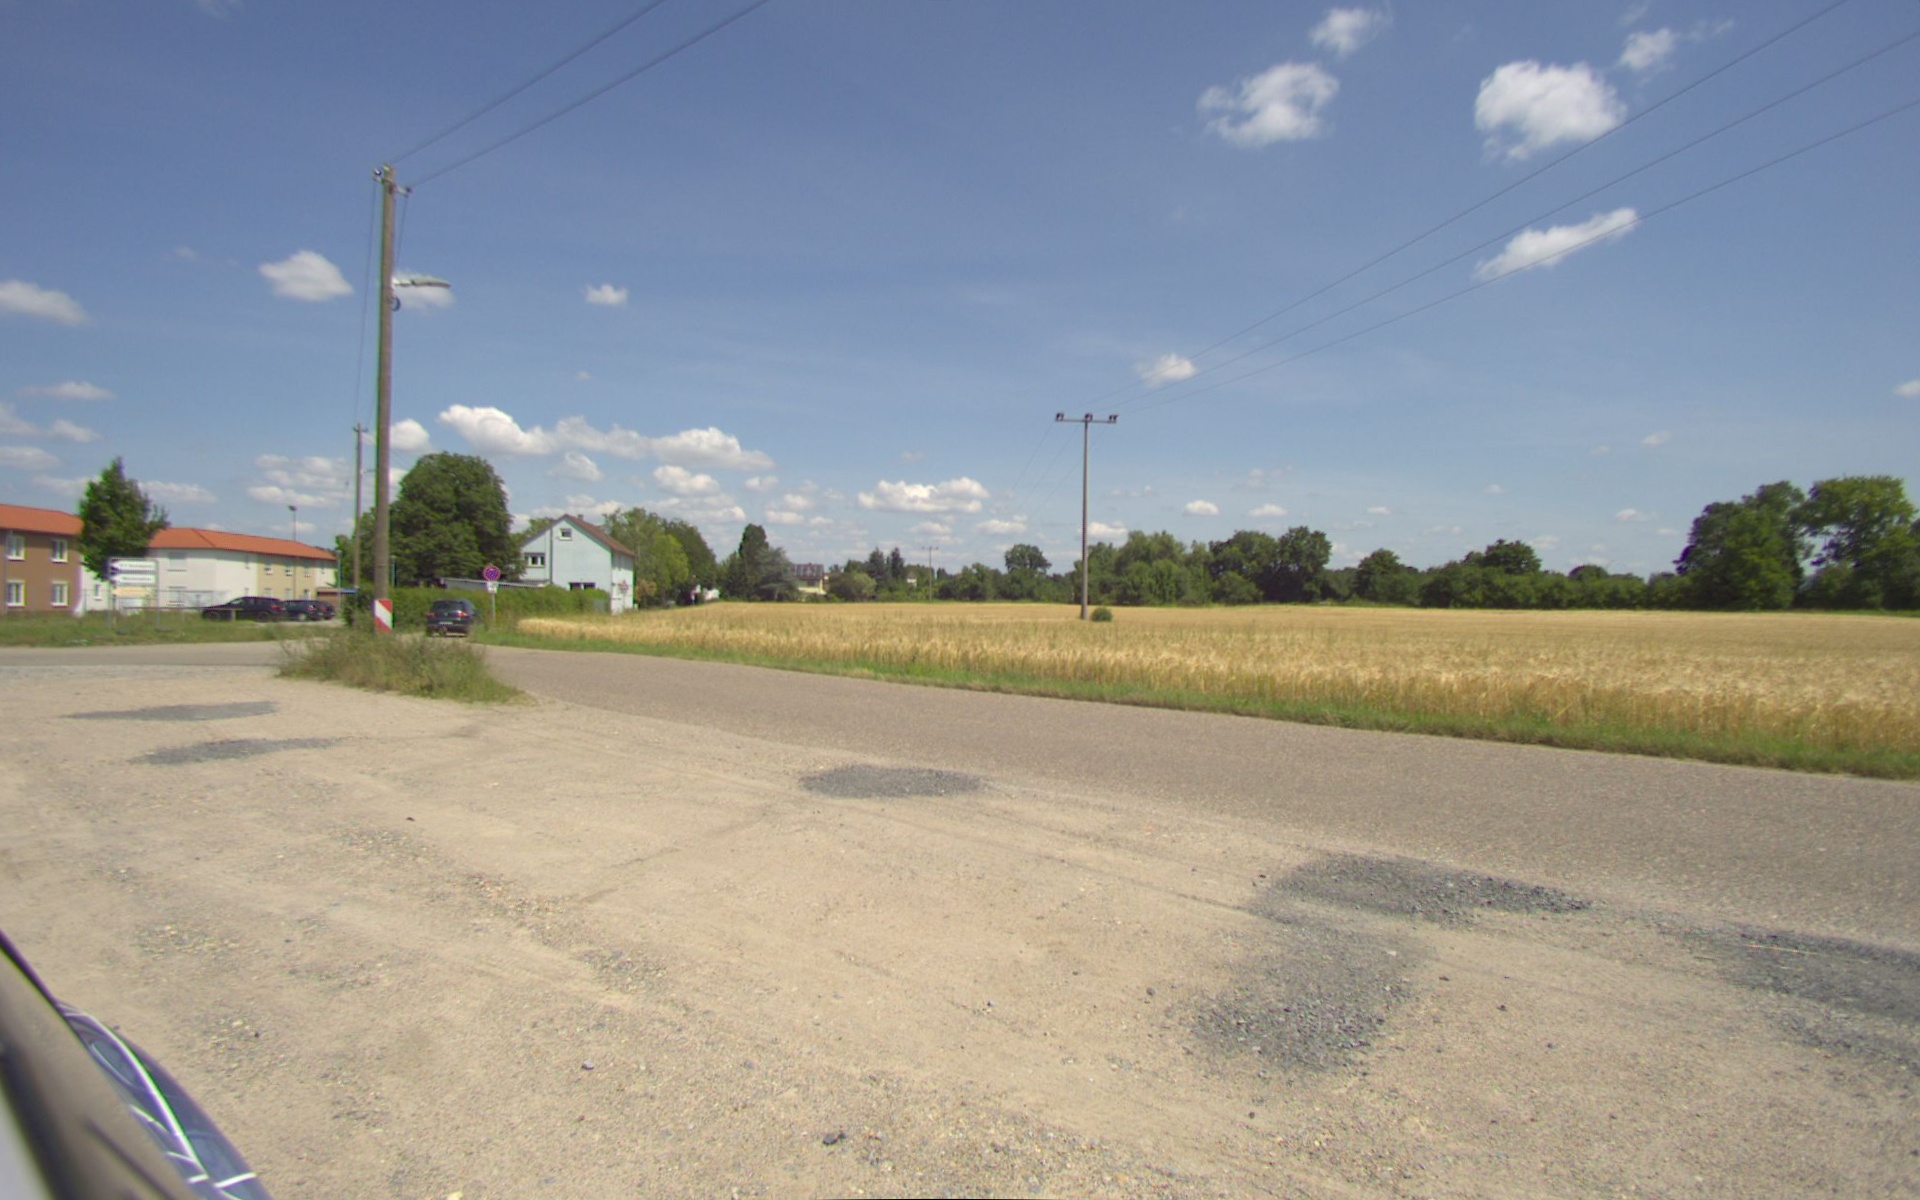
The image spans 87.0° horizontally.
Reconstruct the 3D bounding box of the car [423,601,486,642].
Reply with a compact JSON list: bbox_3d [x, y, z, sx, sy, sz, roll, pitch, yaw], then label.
[{"bbox_3d":[-22.260,0.908,44.673,1.720,1.691,4.267,0,1,-16],"label":"car"}]

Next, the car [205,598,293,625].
[{"bbox_3d":[-44.936,0.748,64.027,4.080,1.627,2.005,1,-1,-12],"label":"car"}]

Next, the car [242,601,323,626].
[{"bbox_3d":[-45.434,0.908,67.946,4.080,1.627,2.005,1,-1,-12],"label":"car"}]
